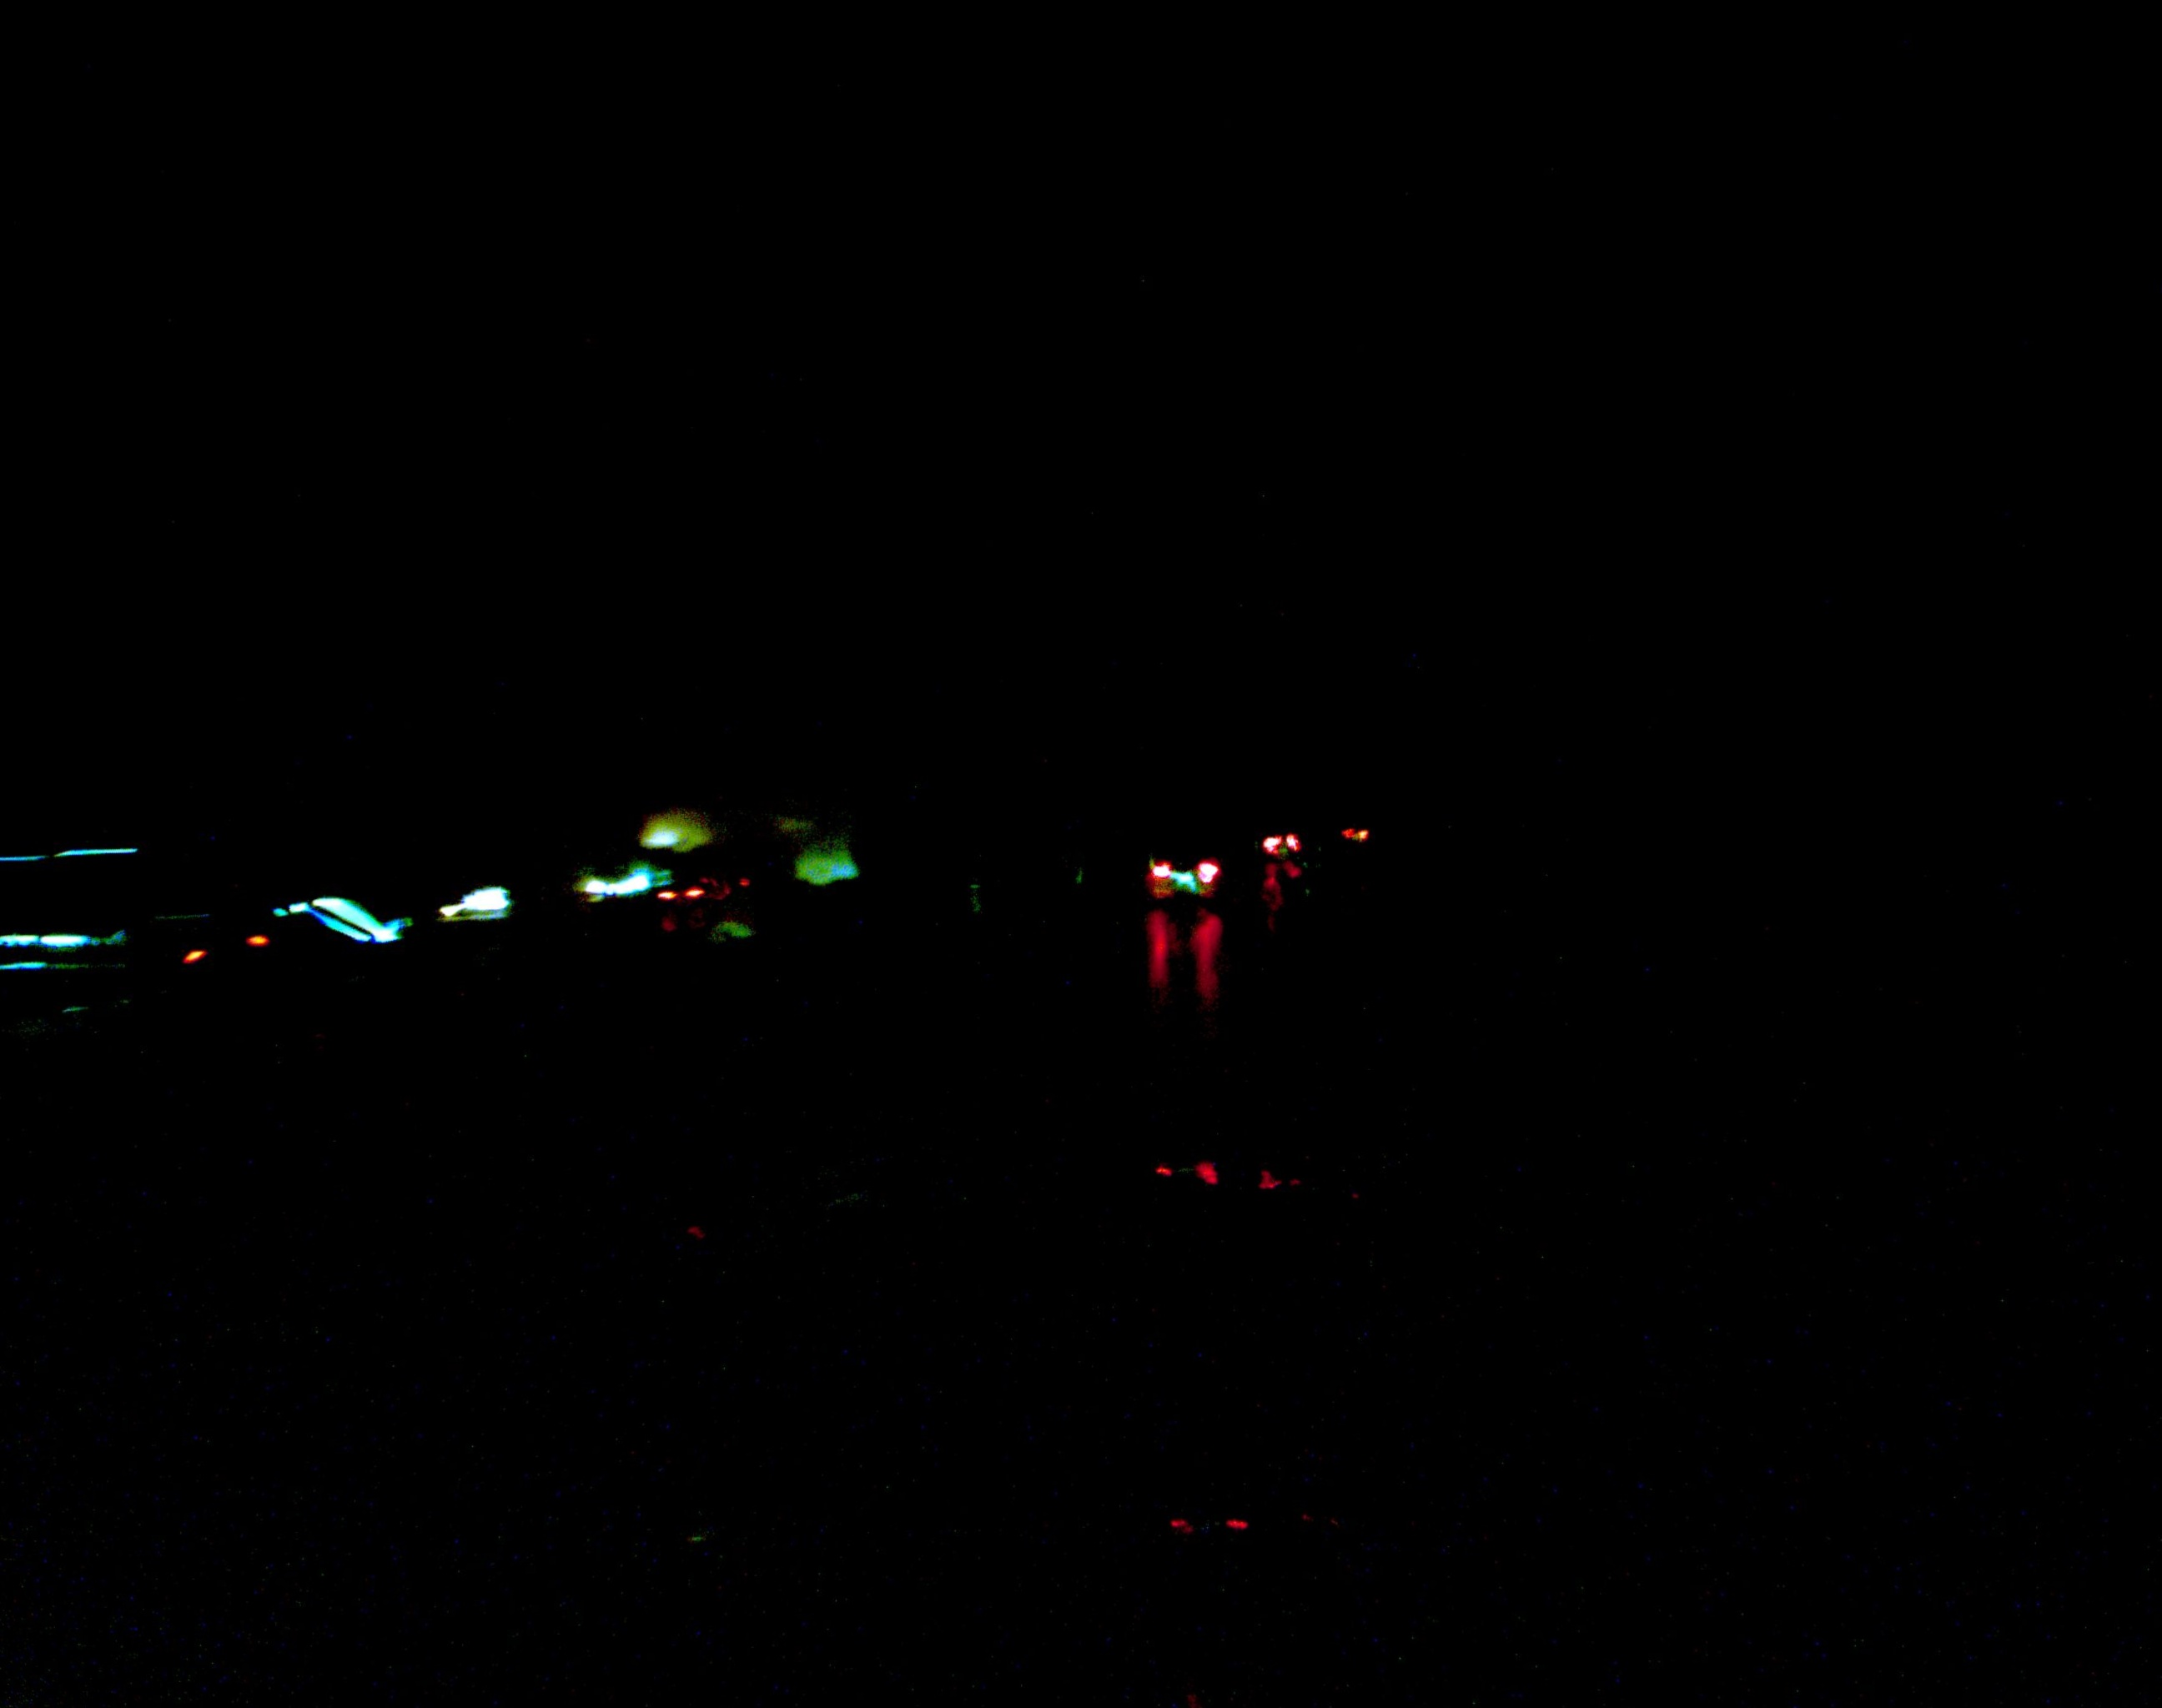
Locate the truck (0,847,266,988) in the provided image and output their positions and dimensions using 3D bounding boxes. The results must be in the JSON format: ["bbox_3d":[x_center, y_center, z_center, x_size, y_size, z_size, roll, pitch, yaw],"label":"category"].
[{"bbox_3d":[-32.110,1.947,27.481,3.409,3.973,7.410,-3,0,-19],"label":"truck"}]

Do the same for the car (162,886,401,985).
[{"bbox_3d":[-16.158,1.554,16.770,1.652,1.575,3.831,-5,0,-13],"label":"car"}]

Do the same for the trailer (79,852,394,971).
[{"bbox_3d":[-34.501,2.121,34.547,3.450,3.878,13.277,-2,-1,-19],"label":"trailer"}]

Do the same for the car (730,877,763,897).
[{"bbox_3d":[-28.048,2.749,68.386,1.770,1.517,4.891,-4,-1,-13],"label":"car"}]

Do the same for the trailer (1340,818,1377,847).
[{"bbox_3d":[22.320,-1.635,65.238,2.060,2.014,10.705,-4,-1,22],"label":"trailer"}]

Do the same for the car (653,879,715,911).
[{"bbox_3d":[-19.729,2.002,40.636,1.966,1.380,4.028,-3,-1,-15],"label":"car"}]
